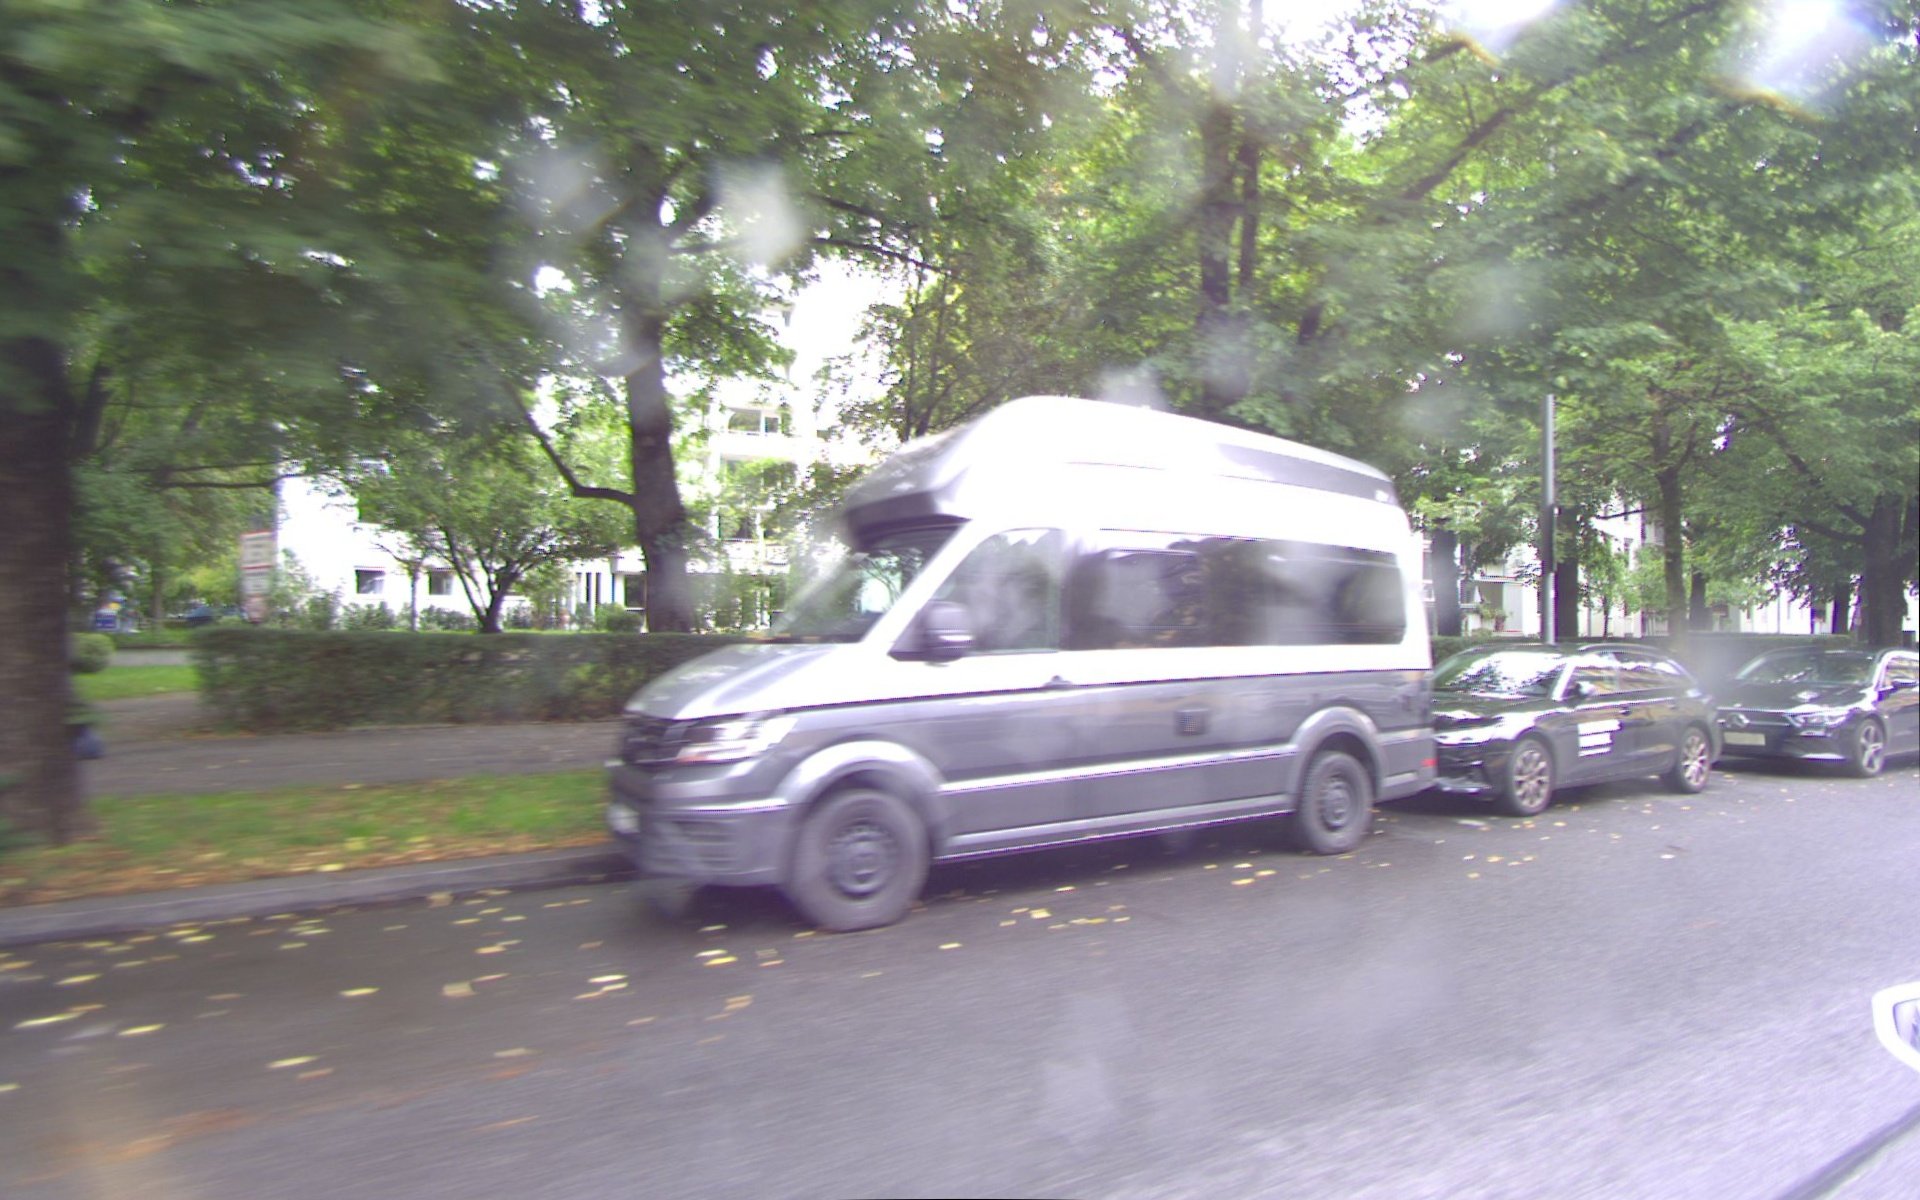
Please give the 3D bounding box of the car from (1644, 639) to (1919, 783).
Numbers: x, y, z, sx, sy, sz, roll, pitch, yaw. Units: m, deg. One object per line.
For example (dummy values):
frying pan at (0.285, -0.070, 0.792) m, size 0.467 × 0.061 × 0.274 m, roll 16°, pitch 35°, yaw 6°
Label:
car at (10.503, 1.264, 12.245) m, size 4.497 × 1.457 × 1.782 m, roll 3°, pitch -2°, yaw -29°

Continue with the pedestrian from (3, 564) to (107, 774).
pedestrian at (-8.307, 0.610, 9.246) m, size 0.531 × 1.844 × 0.695 m, roll 1°, pitch -1°, yaw -30°

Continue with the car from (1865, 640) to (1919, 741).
car at (15.875, 1.374, 15.569) m, size 3.905 × 1.473 × 1.780 m, roll 2°, pitch -2°, yaw -32°

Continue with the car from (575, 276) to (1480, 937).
car at (0.842, 0.161, 6.853) m, size 6.167 × 2.892 × 1.935 m, roll 3°, pitch -2°, yaw -32°

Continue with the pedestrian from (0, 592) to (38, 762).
pedestrian at (-9.182, 0.704, 9.419) m, size 0.632 × 1.572 × 0.627 m, roll 1°, pitch -1°, yaw -30°

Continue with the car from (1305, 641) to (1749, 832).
car at (5.643, 1.154, 9.857) m, size 4.524 × 1.457 × 1.781 m, roll 1°, pitch -2°, yaw -30°
